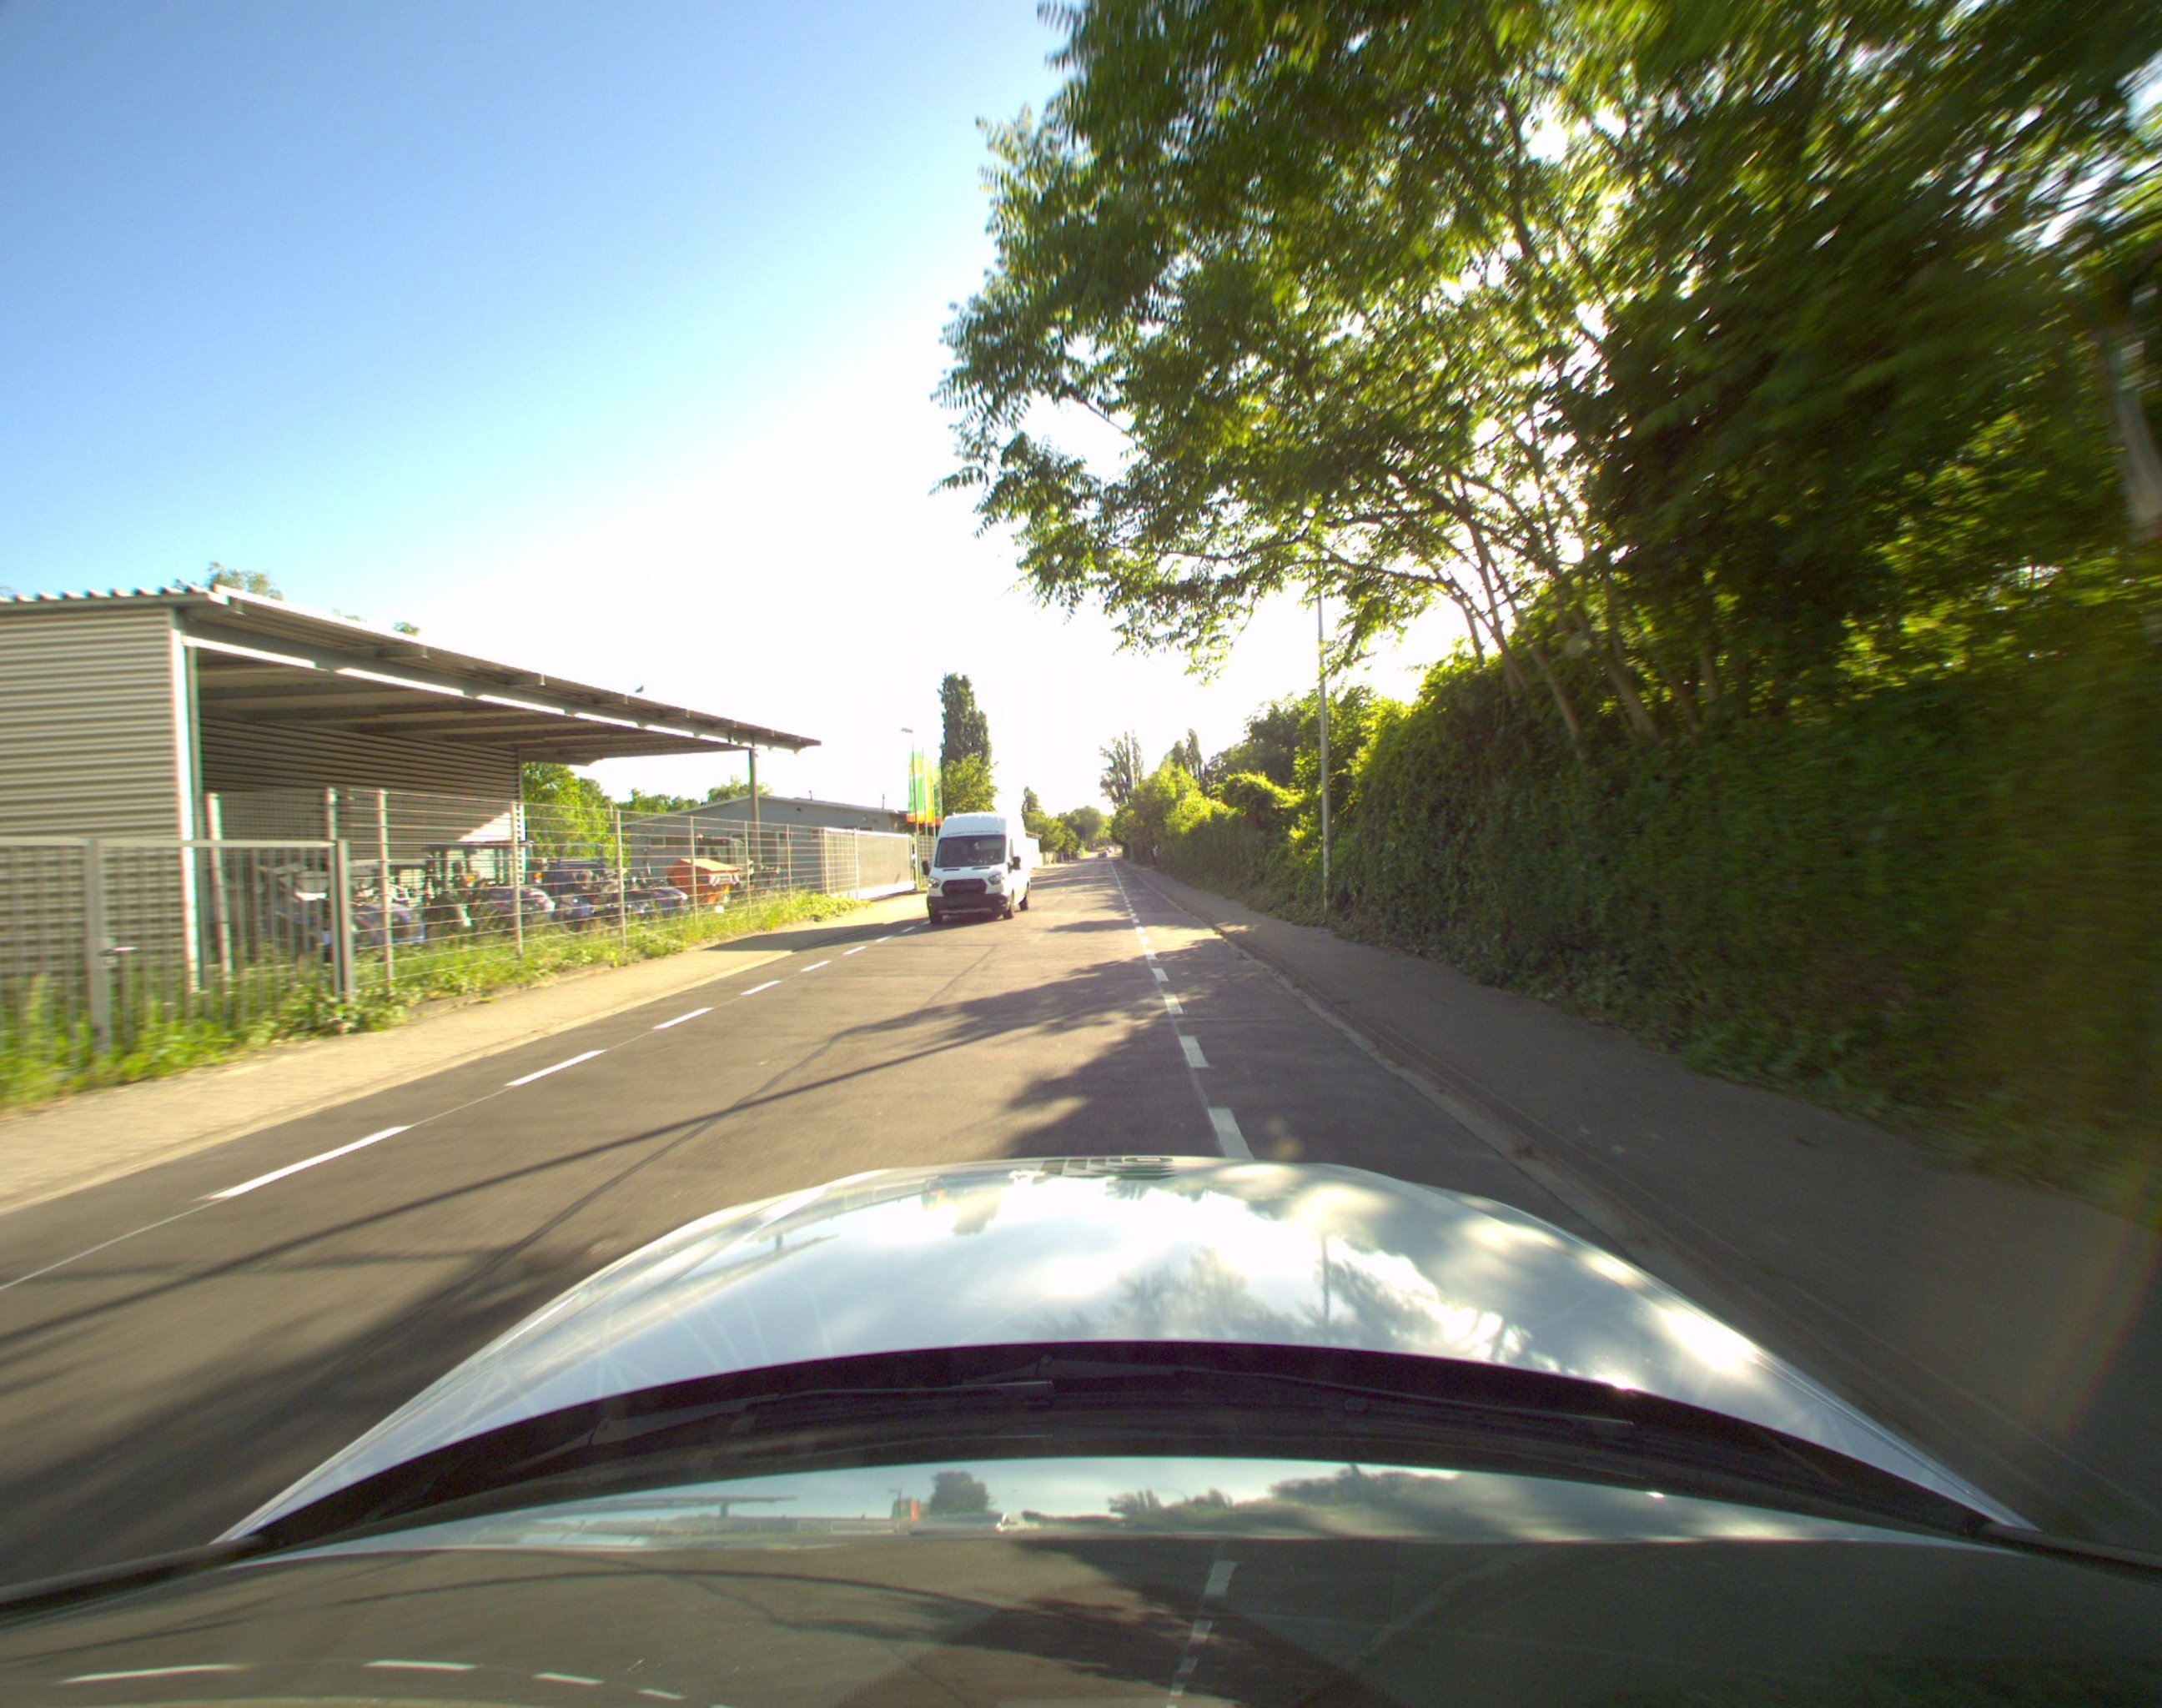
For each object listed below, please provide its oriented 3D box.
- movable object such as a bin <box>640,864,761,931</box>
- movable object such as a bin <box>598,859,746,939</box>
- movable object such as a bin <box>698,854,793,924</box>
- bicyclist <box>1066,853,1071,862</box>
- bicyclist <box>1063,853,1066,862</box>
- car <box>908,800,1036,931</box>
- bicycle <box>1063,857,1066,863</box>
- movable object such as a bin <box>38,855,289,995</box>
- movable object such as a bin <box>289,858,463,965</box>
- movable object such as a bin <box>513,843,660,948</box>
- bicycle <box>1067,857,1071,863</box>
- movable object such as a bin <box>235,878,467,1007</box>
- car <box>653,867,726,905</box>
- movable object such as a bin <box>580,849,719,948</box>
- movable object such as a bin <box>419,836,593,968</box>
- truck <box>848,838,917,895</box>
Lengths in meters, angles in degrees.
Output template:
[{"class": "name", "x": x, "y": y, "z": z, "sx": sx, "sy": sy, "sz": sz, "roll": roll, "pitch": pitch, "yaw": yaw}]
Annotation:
[{"class": "movable object such as a bin", "x": -10.863, "y": 1.217, "z": 23.386, "sx": 2.629, "sy": 1.680, "sz": 1.525, "roll": -3, "pitch": 1, "yaw": -1}, {"class": "movable object such as a bin", "x": -10.753, "y": 1.157, "z": 21.559, "sx": 3.029, "sy": 1.835, "sz": 1.525, "roll": -3, "pitch": 1, "yaw": -1}, {"class": "movable object such as a bin", "x": -10.498, "y": 1.041, "z": 25.736, "sx": 1.653, "sy": 1.934, "sz": 3.096, "roll": -3, "pitch": 1, "yaw": -1}, {"class": "bicyclist", "x": -2.098, "y": 0.546, "z": 139.020, "sx": 0.687, "sy": 1.532, "sz": 0.723, "roll": -2, "pitch": 0, "yaw": 1}, {"class": "bicyclist", "x": -2.840, "y": 0.539, "z": 139.207, "sx": 0.558, "sy": 1.534, "sz": 0.689, "roll": -2, "pitch": 0, "yaw": 1}, {"class": "car", "x": -2.634, "y": 0.269, "z": 21.426, "sx": 2.115, "sy": 2.780, "sz": 5.929, "roll": -5, "pitch": 0, "yaw": 2}, {"class": "bicycle", "x": -2.819, "y": 1.048, "z": 139.285, "sx": 0.560, "sy": 1.034, "sz": 1.351, "roll": -2, "pitch": 0, "yaw": 2}, {"class": "movable object such as a bin", "x": -15.627, "y": 1.123, "z": 14.031, "sx": 1.571, "sy": 2.092, "sz": 2.311, "roll": -3, "pitch": 1, "yaw": -1}, {"class": "movable object such as a bin", "x": -15.588, "y": 1.204, "z": 18.160, "sx": 1.571, "sy": 2.092, "sz": 2.478, "roll": -3, "pitch": 1, "yaw": -1}, {"class": "movable object such as a bin", "x": -10.911, "y": 0.898, "z": 17.976, "sx": 2.765, "sy": 2.126, "sz": 1.393, "roll": -3, "pitch": 1, "yaw": 27}, {"class": "bicycle", "x": -2.086, "y": 0.981, "z": 139.135, "sx": 0.686, "sy": 1.034, "sz": 1.351, "roll": -2, "pitch": 0, "yaw": 2}, {"class": "movable object such as a bin", "x": -11.136, "y": 1.264, "z": 12.403, "sx": 3.361, "sy": 1.613, "sz": 1.637, "roll": -3, "pitch": 1, "yaw": 31}, {"class": "car", "x": -21.779, "y": 1.756, "z": 45.507, "sx": 1.986, "sy": 1.815, "sz": 4.001, "roll": -3, "pitch": 0, "yaw": 1}, {"class": "movable object such as a bin", "x": -10.350, "y": 1.053, "z": 19.530, "sx": 2.853, "sy": 2.149, "sz": 1.509, "roll": -3, "pitch": 1, "yaw": 28}, {"class": "movable object such as a bin", "x": -10.541, "y": 0.841, "z": 14.925, "sx": 2.737, "sy": 2.164, "sz": 1.533, "roll": -3, "pitch": 1, "yaw": 31}, {"class": "truck", "x": -10.714, "y": 0.623, "z": 44.562, "sx": 2.071, "sy": 2.761, "sz": 5.767, "roll": -3, "pitch": 0, "yaw": 1}]
